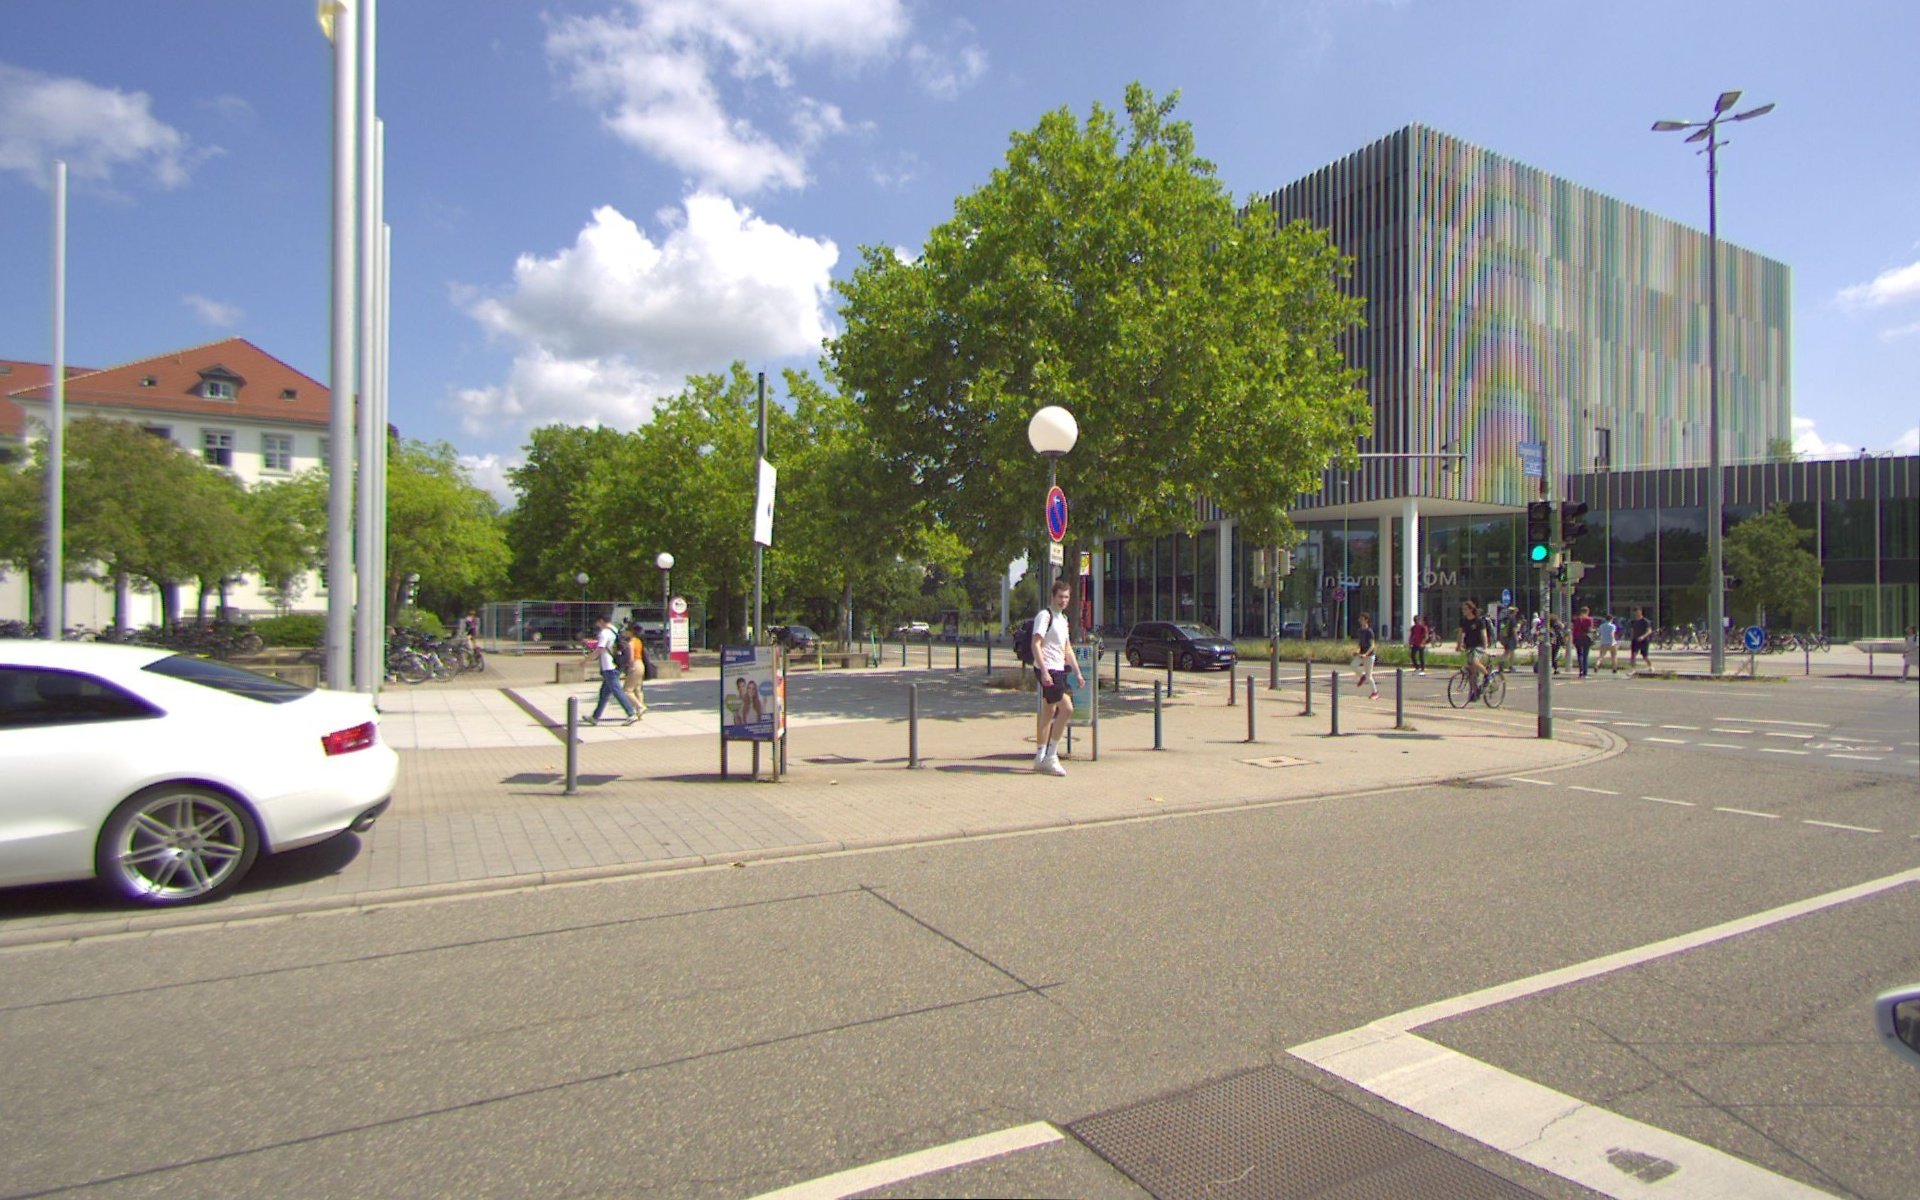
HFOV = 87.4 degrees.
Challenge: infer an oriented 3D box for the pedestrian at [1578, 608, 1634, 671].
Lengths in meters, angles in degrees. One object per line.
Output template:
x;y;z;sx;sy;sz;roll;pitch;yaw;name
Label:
19.085;1.161;29.687;1.075;1.843;0.863;0;-1;-6;pedestrian

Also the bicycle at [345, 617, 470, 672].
-15.129;1.204;27.644;2.911;1.430;1.059;1;-1;-25;bicycle

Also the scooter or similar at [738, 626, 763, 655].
-11.633;2.213;55.698;0.722;1.559;2.635;0;-1;-26;scooter or similar

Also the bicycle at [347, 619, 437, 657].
-22.006;1.467;39.006;2.911;1.430;1.059;1;-1;-25;bicycle

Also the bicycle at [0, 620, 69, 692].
-20.578;1.178;21.967;2.905;1.430;1.143;0;-1;39;bicycle

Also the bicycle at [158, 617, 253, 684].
-17.382;1.116;23.103;2.905;1.430;1.061;0;-1;39;bicycle

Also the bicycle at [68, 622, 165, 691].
-19.218;1.236;22.855;2.905;1.430;1.143;0;-1;39;bicycle

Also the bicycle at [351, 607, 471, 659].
-15.596;0.932;28.650;2.911;1.430;1.059;1;-1;-25;bicycle

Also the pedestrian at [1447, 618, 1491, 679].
13.942;1.315;27.510;0.788;1.619;0.767;0;-1;-28;pedestrian

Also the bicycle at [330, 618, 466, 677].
-14.295;1.203;25.681;2.911;1.430;1.011;1;-1;-25;bicycle

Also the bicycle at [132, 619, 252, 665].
-24.851;1.345;32.554;2.899;1.430;1.063;1;-1;-11;bicycle

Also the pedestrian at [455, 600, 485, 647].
-23.566;1.116;48.353;1.023;2.229;1.156;0;-1;-13;pedestrian

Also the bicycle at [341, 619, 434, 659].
-21.539;1.459;37.882;2.911;1.430;1.059;1;-1;-25;bicycle

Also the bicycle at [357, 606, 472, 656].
-16.044;0.902;29.660;2.911;1.430;1.059;1;-1;-25;bicycle

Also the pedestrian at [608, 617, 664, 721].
-5.357;1.111;16.594;0.737;1.673;0.840;1;-1;-28;pedestrian

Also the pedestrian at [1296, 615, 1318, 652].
22.793;2.212;65.987;1.002;2.377;0.968;1;0;-29;pedestrian

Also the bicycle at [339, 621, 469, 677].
-14.703;1.288;26.675;2.911;1.430;1.011;1;-1;-25;bicycle

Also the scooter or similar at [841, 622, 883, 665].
-2.878;1.265;29.376;0.488;1.212;1.719;1;-1;-33;scooter or similar

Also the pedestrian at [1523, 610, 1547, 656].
32.425;1.851;56.684;0.956;2.599;1.015;1;0;18;pedestrian

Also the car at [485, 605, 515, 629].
-38.896;1.461;84.865;1.844;1.965;4.364;1;-2;-31;car

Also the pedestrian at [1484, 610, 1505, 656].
30.778;1.880;57.841;0.957;2.599;1.014;1;0;25;pedestrian

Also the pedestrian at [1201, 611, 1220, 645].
17.936;2.009;71.878;0.879;2.377;0.968;1;0;-29;pedestrian

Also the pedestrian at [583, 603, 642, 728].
-5.415;0.997;15.633;0.760;1.884;0.717;1;-1;-28;pedestrian

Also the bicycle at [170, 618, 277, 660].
-25.874;1.369;35.392;2.917;1.430;1.057;1;-1;-31;bicycle

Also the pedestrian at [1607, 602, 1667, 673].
18.423;1.008;27.342;1.064;1.895;0.832;0;-1;-6;pedestrian

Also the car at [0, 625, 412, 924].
-5.605;0.879;5.448;4.605;1.414;1.669;1;1;-29;car

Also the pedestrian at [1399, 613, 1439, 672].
13.326;1.225;29.147;0.746;1.700;0.751;0;-1;-27;pedestrian

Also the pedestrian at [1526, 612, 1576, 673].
16.389;1.170;27.862;0.847;1.676;0.826;0;-1;-14;pedestrian

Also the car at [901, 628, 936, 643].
-5.314;4.551;128.524;4.056;1.816;1.703;1;-1;-30;car

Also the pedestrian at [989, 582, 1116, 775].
0.954;0.760;10.364;1.071;1.875;0.719;1;0;37;pedestrian

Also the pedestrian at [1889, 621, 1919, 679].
25.583;1.337;27.042;0.815;1.543;0.811;-1;-1;41;pedestrian

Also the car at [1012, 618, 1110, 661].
4.056;1.581;41.207;1.632;1.683;4.791;1;-1;-28;car

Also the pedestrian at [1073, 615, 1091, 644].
9.397;2.246;77.595;1.002;2.231;0.968;1;0;-29;pedestrian

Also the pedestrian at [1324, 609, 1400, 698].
8.817;1.174;22.041;1.378;1.879;0.701;4;-2;-20;pedestrian

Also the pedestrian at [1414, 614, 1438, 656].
28.767;2.144;62.020;1.002;2.599;0.968;1;0;-29;pedestrian

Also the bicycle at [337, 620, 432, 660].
-21.013;1.451;36.770;2.911;1.430;1.059;1;-1;-25;bicycle

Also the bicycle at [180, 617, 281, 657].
-27.015;1.370;37.283;2.917;1.430;1.204;1;-1;-31;bicycle

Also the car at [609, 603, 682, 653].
-13.127;1.166;41.761;1.844;1.965;4.737;1;-2;-31;car

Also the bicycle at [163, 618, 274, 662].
-25.185;1.363;34.205;2.917;1.430;1.057;1;-1;-31;bicycle

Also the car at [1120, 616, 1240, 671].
7.437;1.441;34.346;1.632;1.683;4.265;-2;0;-28;car

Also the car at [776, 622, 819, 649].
-9.638;2.089;59.414;1.617;1.505;3.978;0;-1;-23;car

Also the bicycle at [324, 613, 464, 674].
-13.851;1.050;24.720;2.911;1.435;1.011;1;-1;-25;bicycle

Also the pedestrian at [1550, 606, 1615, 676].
16.598;1.093;26.801;1.245;1.831;0.807;0;-1;-14;pedestrian

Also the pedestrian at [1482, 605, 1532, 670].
16.148;1.099;29.671;0.988;1.901;0.854;0;-1;-9;pedestrian
